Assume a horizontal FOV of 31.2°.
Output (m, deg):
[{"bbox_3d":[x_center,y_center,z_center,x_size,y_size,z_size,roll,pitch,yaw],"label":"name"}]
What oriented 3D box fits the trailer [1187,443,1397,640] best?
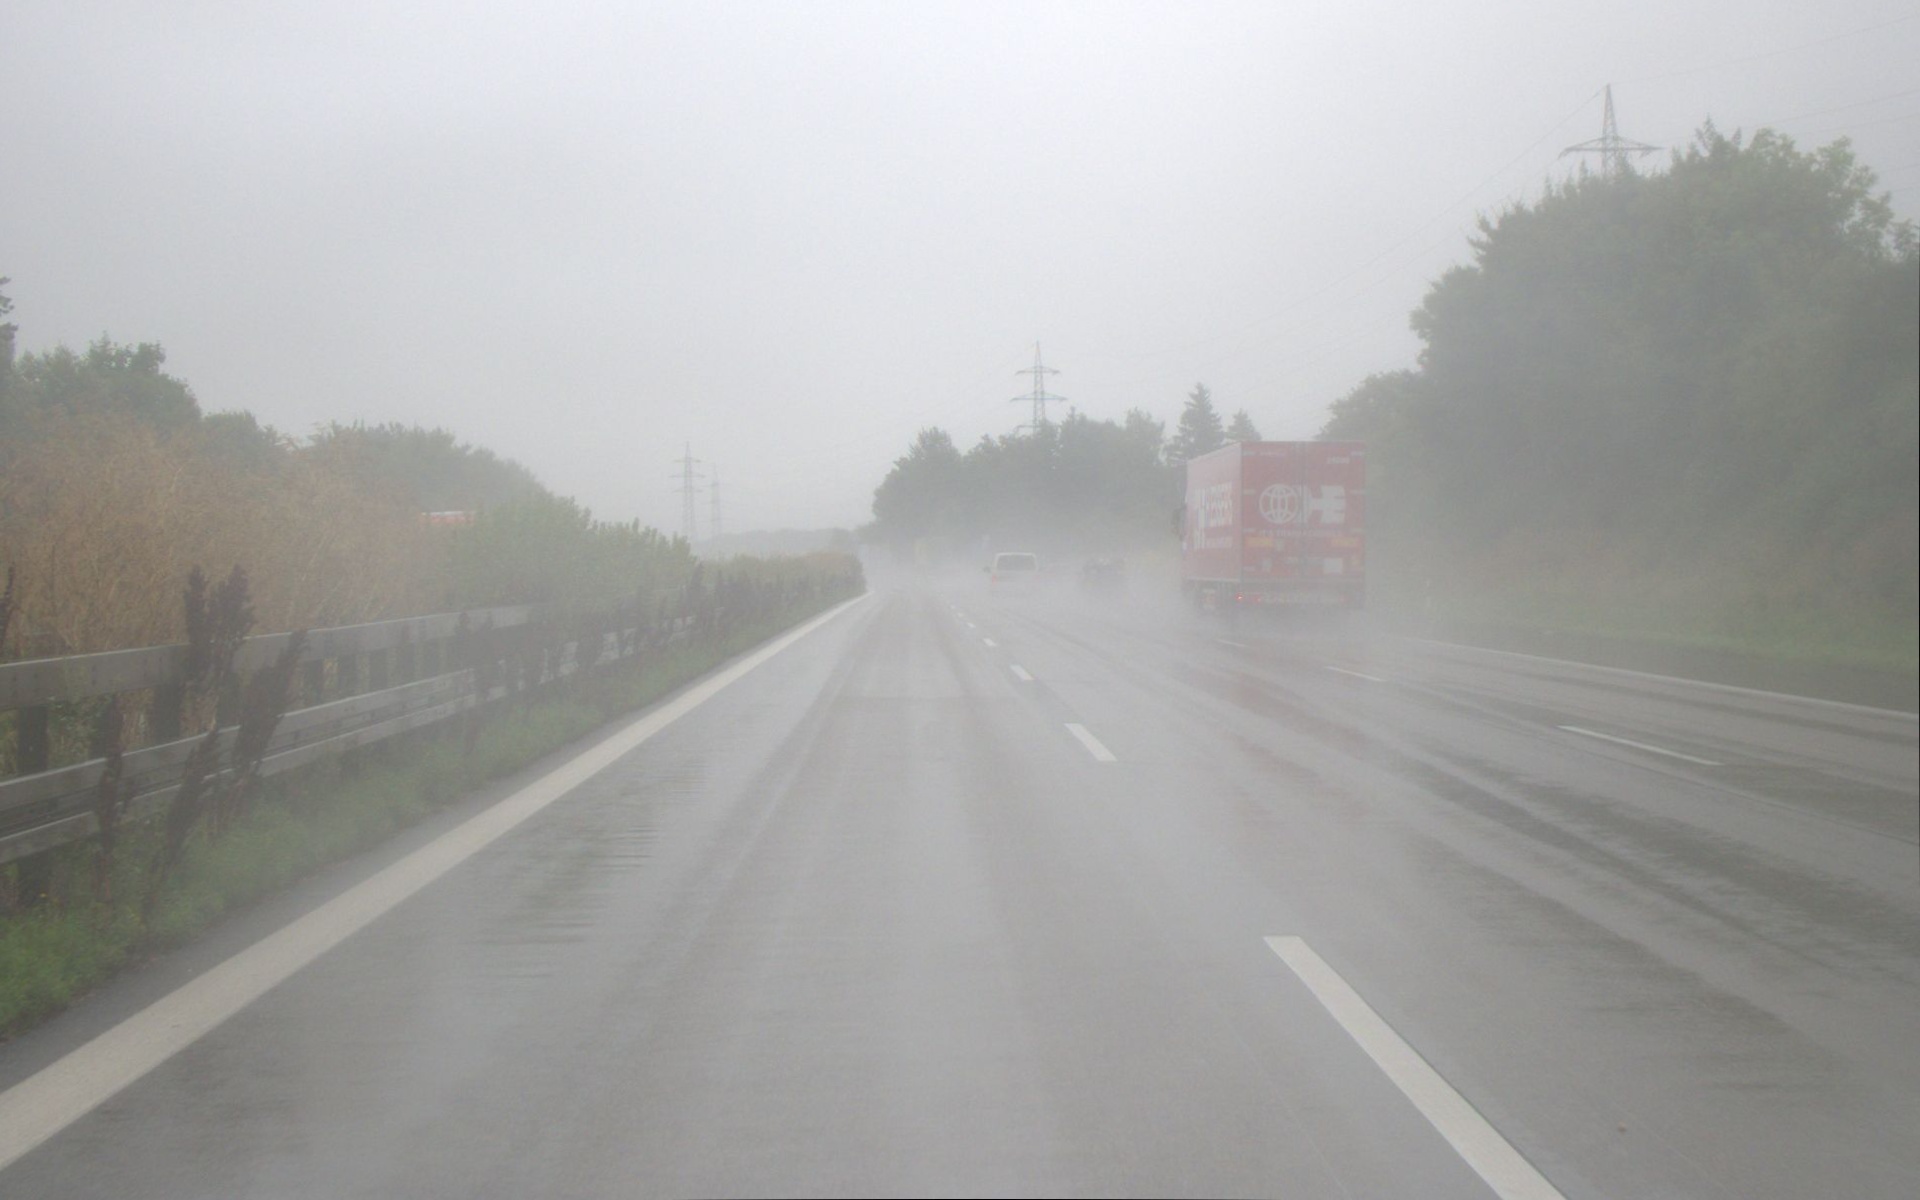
[{"bbox_3d":[7.312,-1.264,77.865,2.620,3.942,13.632,-3,1,-3],"label":"trailer"}]
